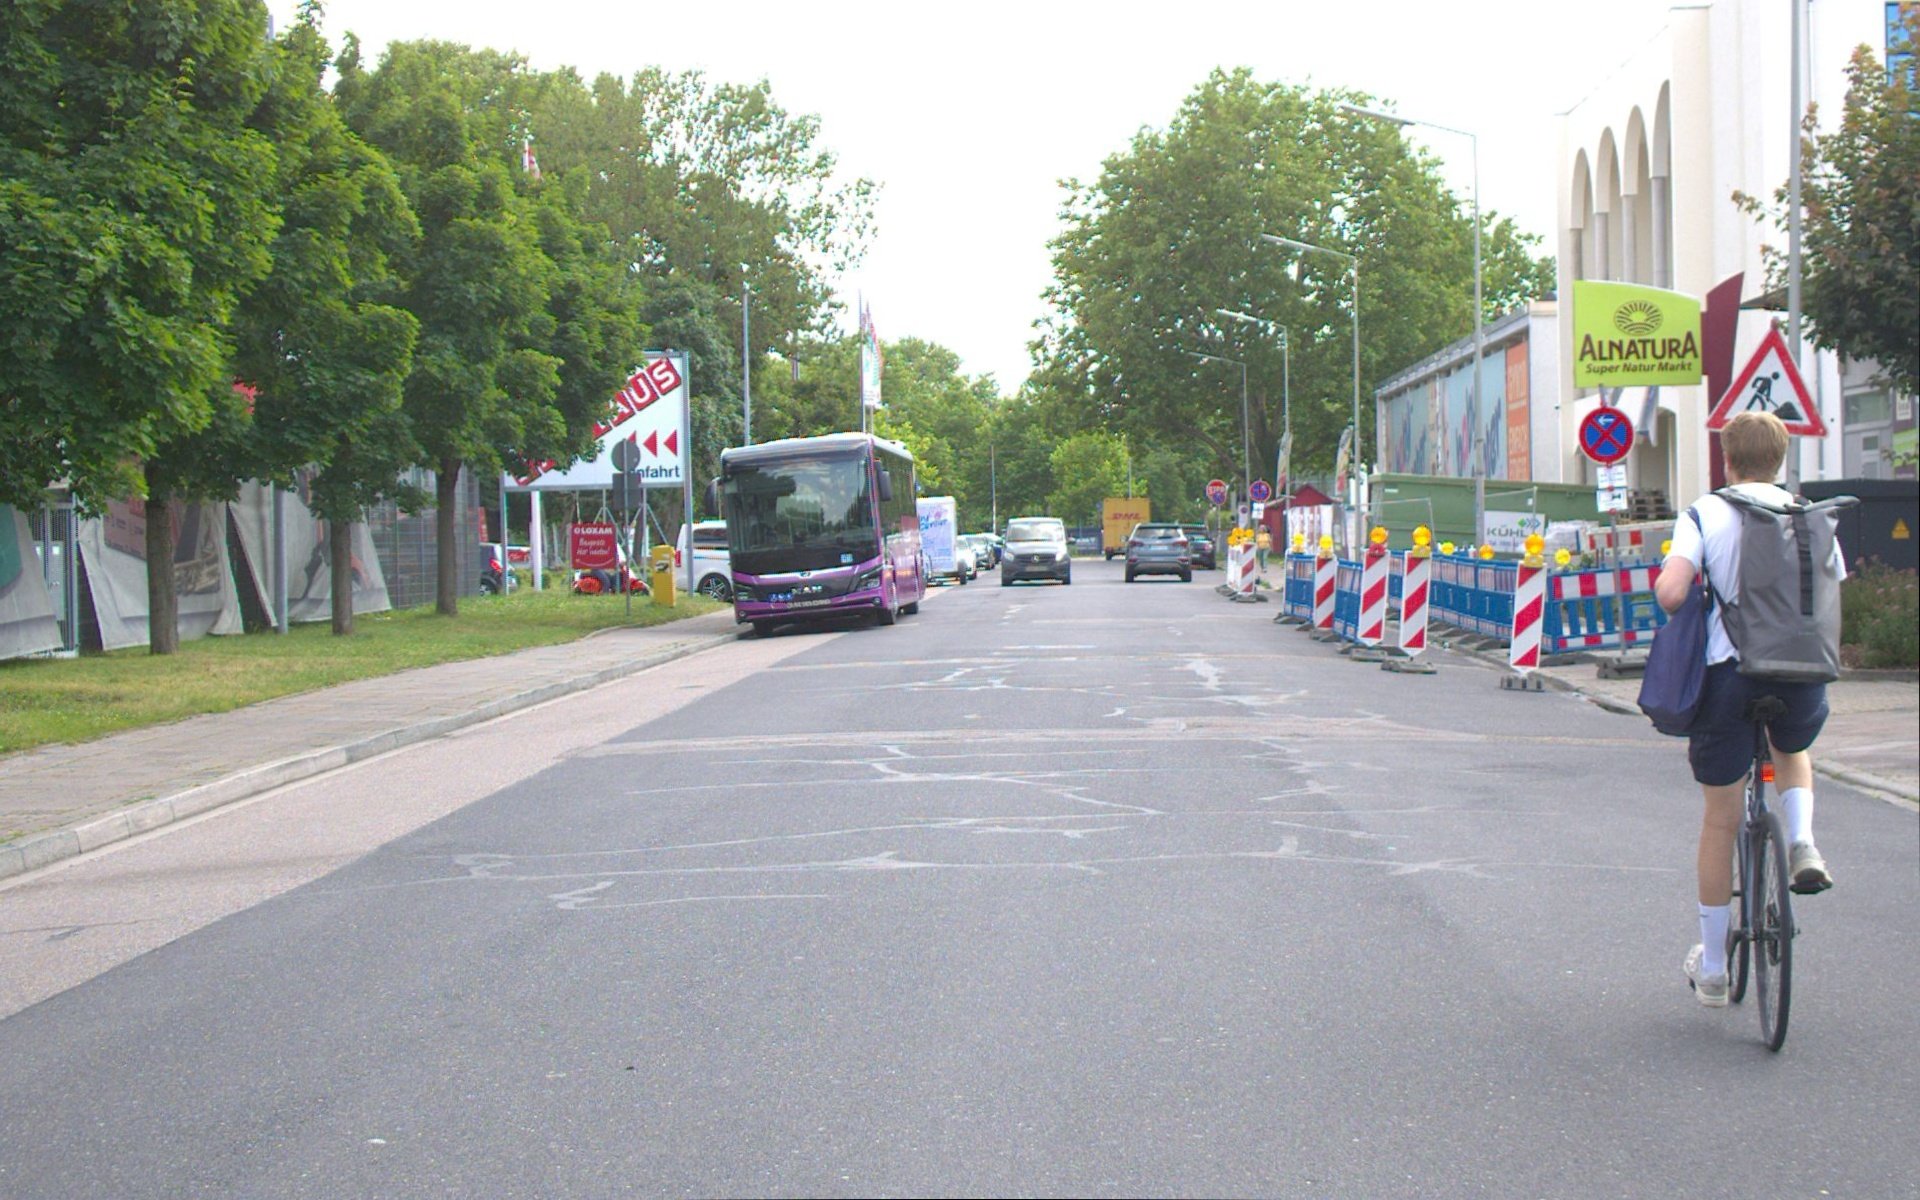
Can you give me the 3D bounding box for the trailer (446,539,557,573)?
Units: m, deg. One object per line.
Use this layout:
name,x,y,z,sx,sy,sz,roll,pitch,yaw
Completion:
trailer,-17.482,-1.670,131.130,3.818,1.186,1.714,-1,2,9

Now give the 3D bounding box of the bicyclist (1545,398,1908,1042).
bicyclist,2.244,0.326,10.218,0.806,1.786,1.207,1,1,2

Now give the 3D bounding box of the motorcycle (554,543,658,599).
motorcycle,-8.168,-0.671,79.436,2.221,1.209,0.994,-2,1,3

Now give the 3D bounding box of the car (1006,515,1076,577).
car,2.267,-1.518,95.790,1.868,1.624,4.127,-1,1,2

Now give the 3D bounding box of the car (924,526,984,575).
car,-0.175,-1.645,113.113,1.765,1.474,4.235,-4,1,1

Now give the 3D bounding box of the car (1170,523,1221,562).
car,8.728,-2.141,127.615,1.808,1.386,4.587,2,1,4

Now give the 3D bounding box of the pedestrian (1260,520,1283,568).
pedestrian,10.085,-1.807,111.332,0.681,1.528,1.130,-1,1,3

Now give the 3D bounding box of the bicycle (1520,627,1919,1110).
bicycle,2.245,0.706,10.205,0.798,1.176,2.627,1,1,2

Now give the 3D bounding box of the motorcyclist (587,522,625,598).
motorcyclist,-8.168,-0.926,79.440,0.674,1.717,0.994,-2,1,3

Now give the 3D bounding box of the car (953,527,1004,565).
car,0.756,-2.178,137.944,1.710,1.415,4.331,-4,1,4

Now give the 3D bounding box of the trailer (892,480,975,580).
trailer,-0.758,-2.093,102.379,2.139,2.773,4.703,-3,1,2

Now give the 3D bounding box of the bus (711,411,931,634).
bus,-2.321,-1.406,62.542,2.663,3.411,13.218,-5,1,2

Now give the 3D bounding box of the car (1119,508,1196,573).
car,5.636,-1.716,98.572,1.962,1.809,4.276,-1,1,1

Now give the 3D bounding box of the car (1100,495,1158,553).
car,7.802,-3.557,159.431,2.198,2.569,6.405,-1,2,-1

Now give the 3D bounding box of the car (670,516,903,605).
car,-3.959,-0.916,78.841,5.002,1.942,1.992,-1,1,8

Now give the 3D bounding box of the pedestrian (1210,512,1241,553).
pedestrian,11.860,-3.011,153.726,1.000,1.843,1.230,-1,1,-15
